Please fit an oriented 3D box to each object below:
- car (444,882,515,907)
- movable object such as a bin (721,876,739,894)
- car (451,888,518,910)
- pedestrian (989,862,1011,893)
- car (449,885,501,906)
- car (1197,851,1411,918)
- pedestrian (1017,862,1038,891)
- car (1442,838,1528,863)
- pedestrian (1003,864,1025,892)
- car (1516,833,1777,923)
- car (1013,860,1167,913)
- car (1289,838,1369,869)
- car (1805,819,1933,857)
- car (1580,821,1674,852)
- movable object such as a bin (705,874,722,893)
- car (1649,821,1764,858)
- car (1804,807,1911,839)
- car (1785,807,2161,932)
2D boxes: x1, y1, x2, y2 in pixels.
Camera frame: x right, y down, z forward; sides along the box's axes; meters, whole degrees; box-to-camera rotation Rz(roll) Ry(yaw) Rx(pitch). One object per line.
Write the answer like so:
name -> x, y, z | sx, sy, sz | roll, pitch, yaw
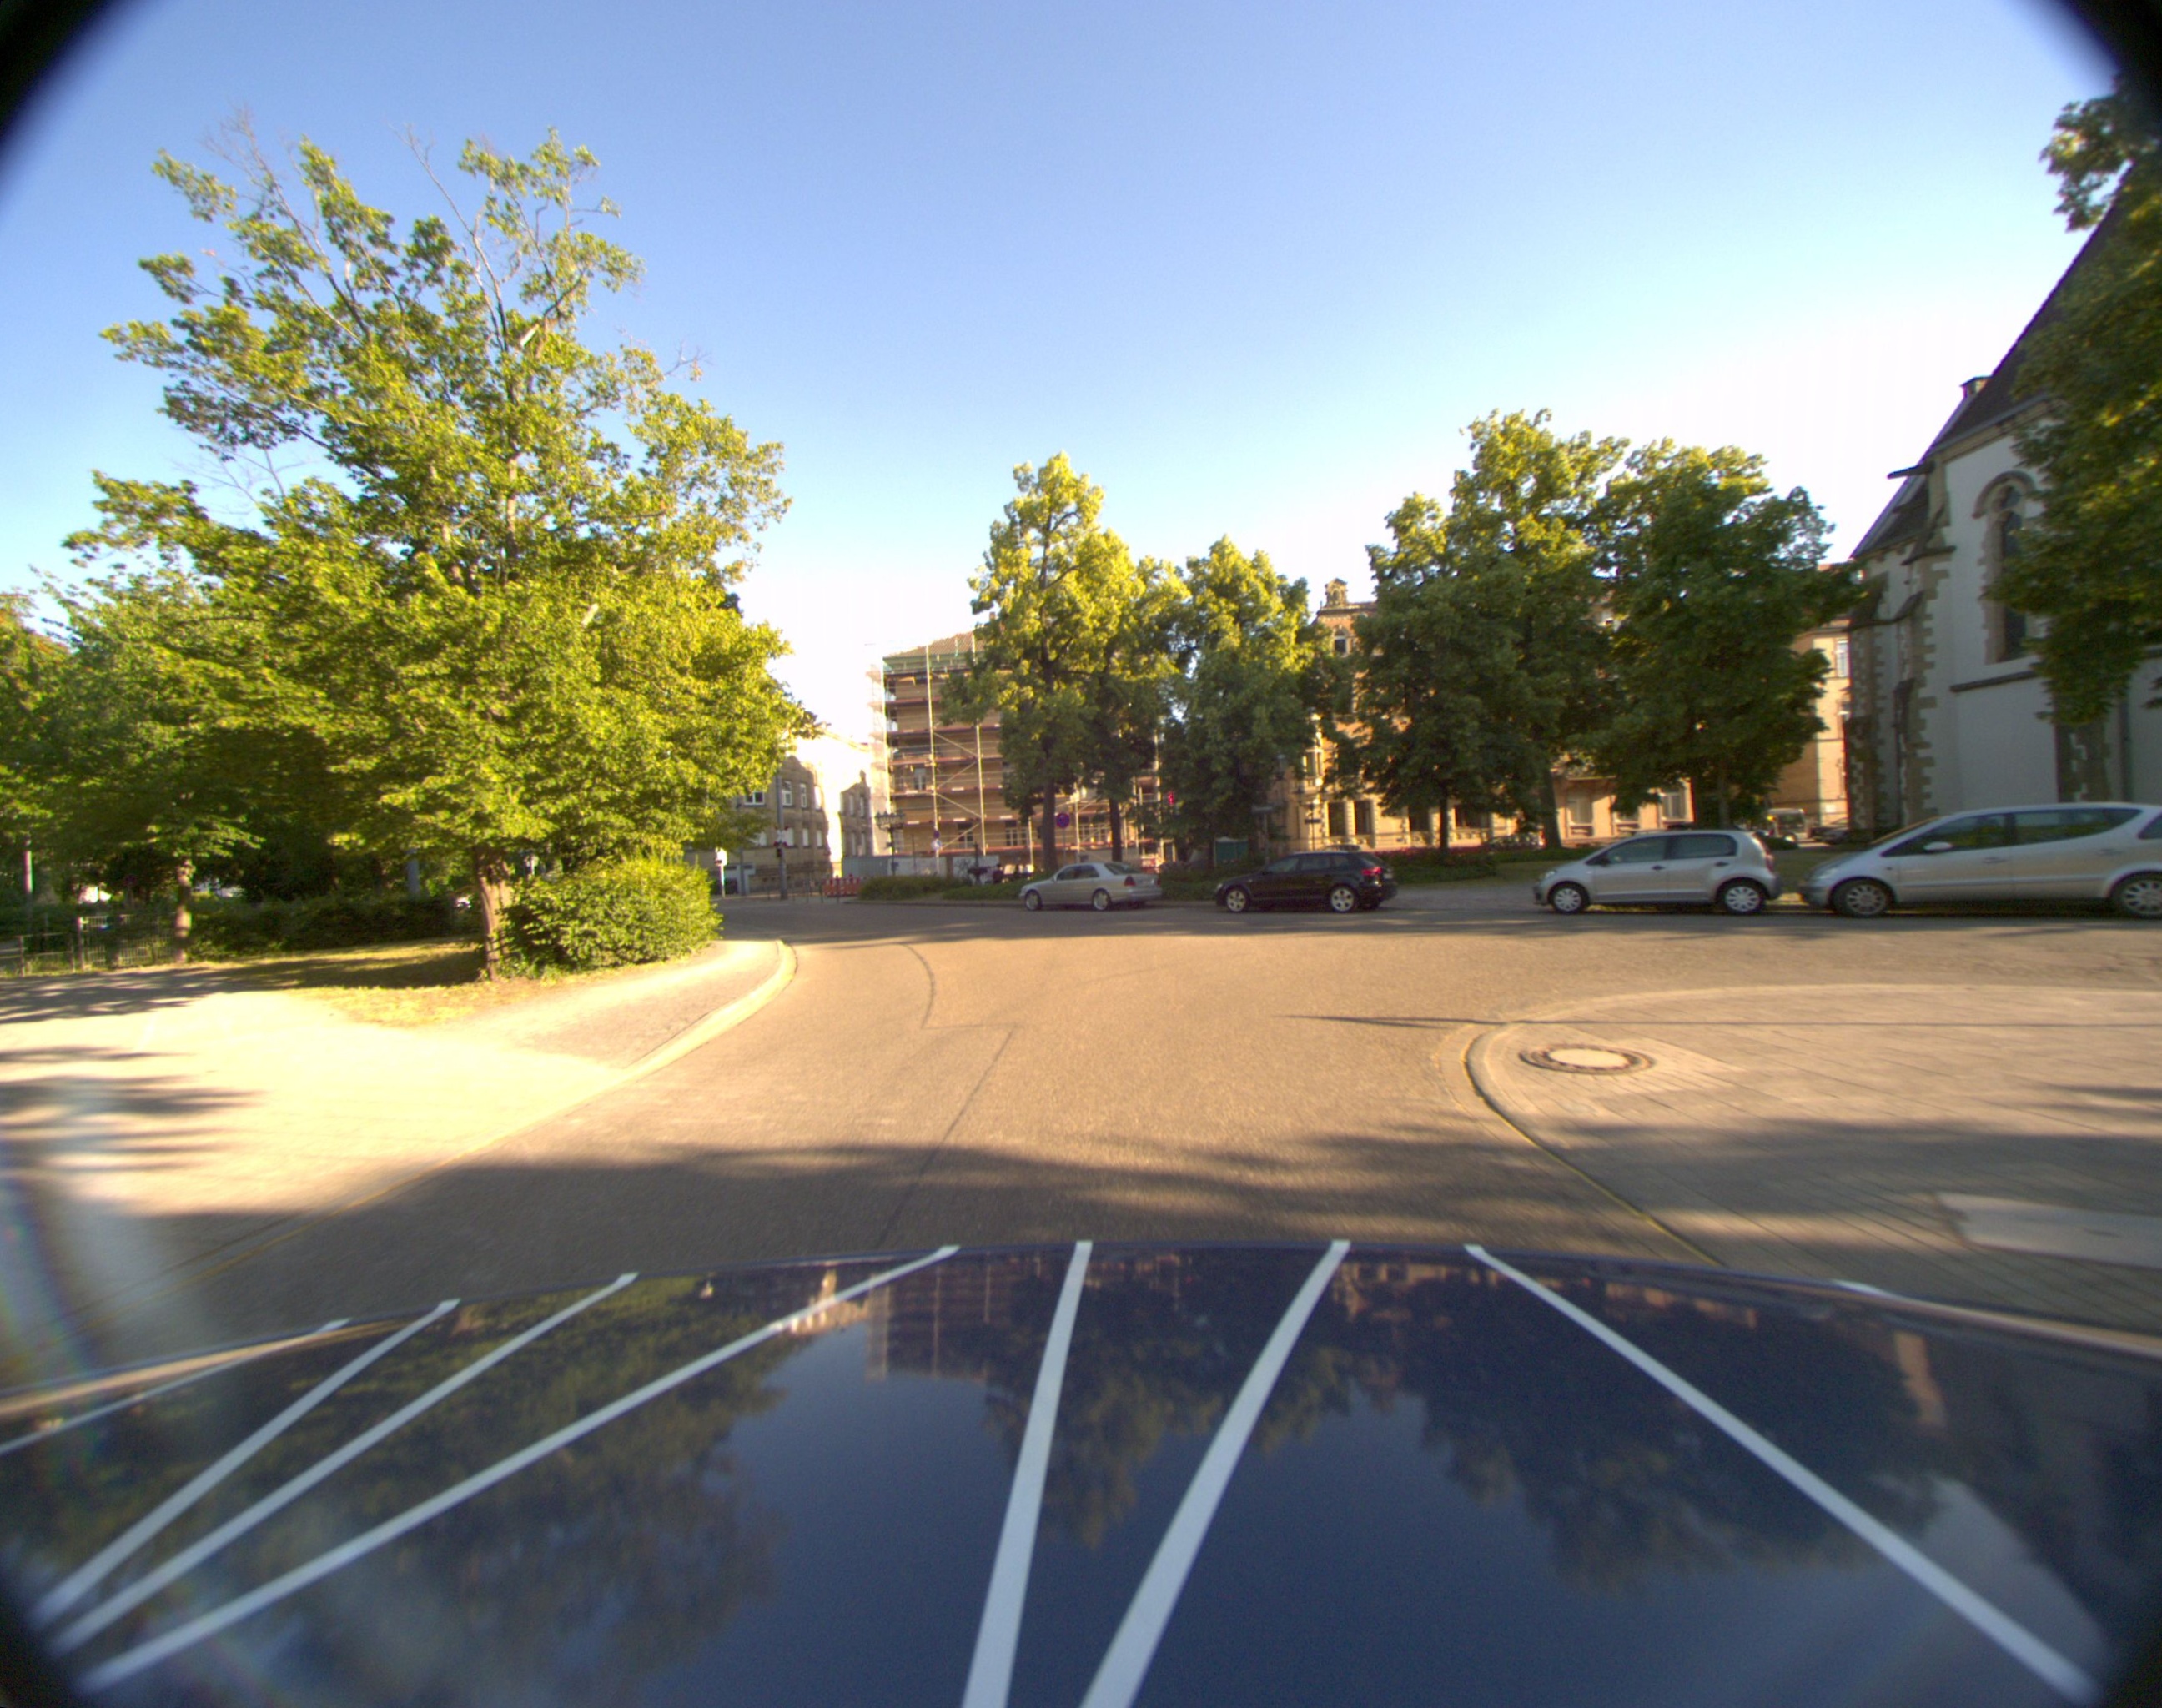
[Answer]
car -> -53.211, 3.524, 67.265 | 4.821, 1.986, 2.075 | 0, -1, -41
movable object such as a bin -> -29.259, 2.544, 63.362 | 1.188, 1.420, 1.918 | -3, 0, -28
car -> -46.268, 3.486, 58.959 | 4.008, 1.537, 1.730 | -1, -1, -40
pedestrian -> -3.488, 1.016, 32.749 | 0.554, 1.290, 0.764 | -3, 0, -34
car -> -51.725, 3.536, 64.963 | 3.414, 1.621, 1.675 | -1, -1, -37
car -> 5.192, 0.727, 18.034 | 4.483, 1.407, 1.834 | -3, -2, 39
pedestrian -> -2.371, 0.985, 33.498 | 0.554, 1.225, 0.723 | -3, 0, -34
car -> 24.761, -0.191, 46.728 | 4.216, 1.270, 1.913 | -3, 0, 3
pedestrian -> -2.941, 1.035, 33.298 | 0.554, 1.188, 0.882 | -3, 0, -34
car -> 10.147, 0.453, 13.834 | 3.596, 1.431, 1.621 | -3, -1, 39
car -> 0.175, 0.967, 22.553 | 4.486, 1.407, 1.789 | -3, -2, 42
car -> 15.224, -0.042, 46.819 | 4.216, 1.646, 1.913 | -3, 0, 3
car -> 39.974, -0.785, 38.630 | 4.214, 1.646, 1.893 | -3, 0, 9
car -> 33.475, -1.054, 46.669 | 4.216, 1.646, 2.000 | -3, 0, 3
movable object such as a bin -> -30.786, 2.467, 63.712 | 1.151, 1.477, 1.624 | -3, 0, -28
car -> 32.033, -0.741, 39.014 | 4.216, 1.646, 1.892 | -3, 0, 2
car -> 46.326, -1.832, 45.420 | 4.216, 1.646, 2.000 | -3, 0, 3
car -> 13.022, 0.234, 11.206 | 3.687, 1.570, 1.713 | -3, 0, 38
